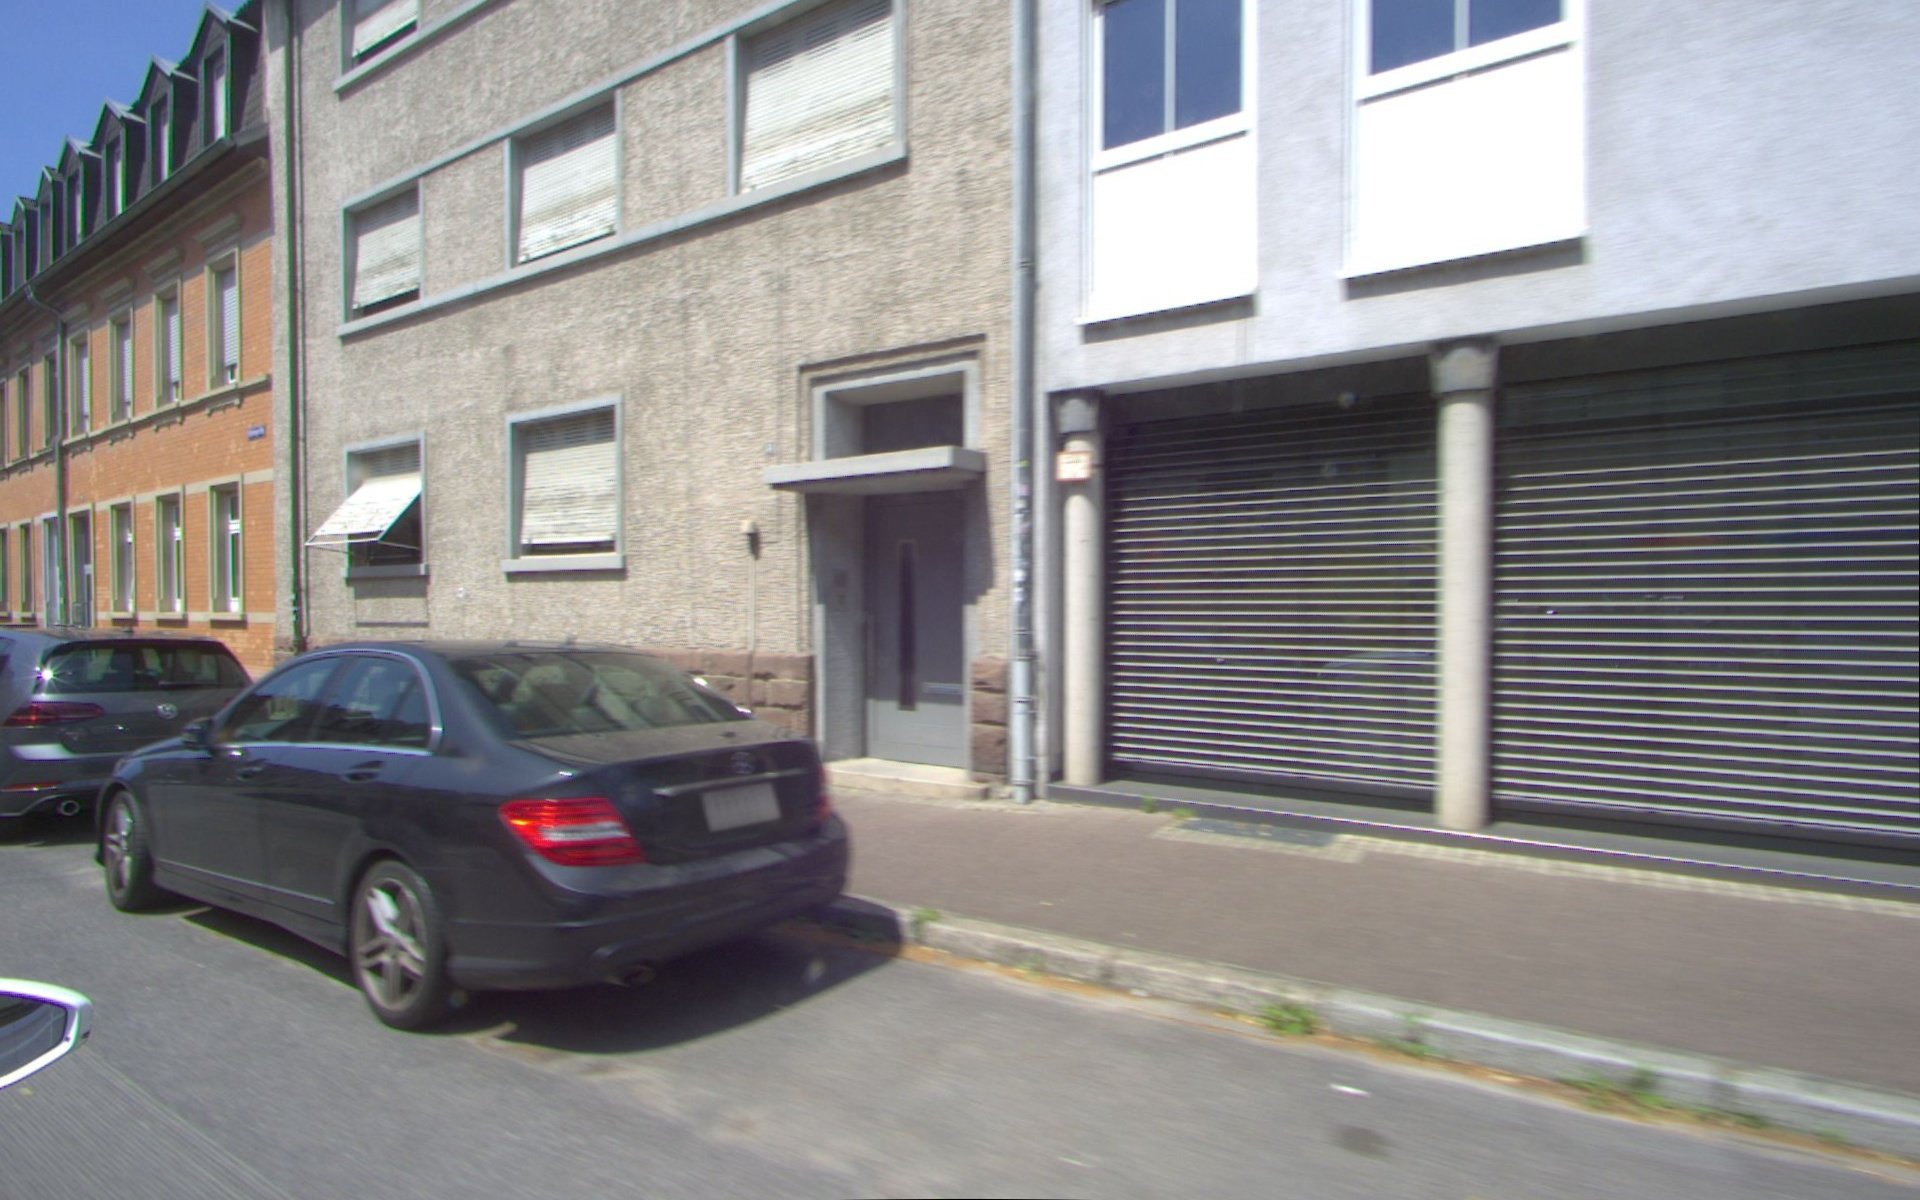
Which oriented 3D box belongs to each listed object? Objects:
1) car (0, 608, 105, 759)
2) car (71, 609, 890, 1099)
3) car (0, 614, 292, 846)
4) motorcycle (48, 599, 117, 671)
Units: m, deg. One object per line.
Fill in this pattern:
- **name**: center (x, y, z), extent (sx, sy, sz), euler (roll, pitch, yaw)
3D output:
- **car**: center (-11.473, 0.840, 10.838), extent (4.479, 1.482, 1.853), euler (-1, -1, 27)
- **car**: center (-2.596, 0.796, 5.000), extent (4.376, 1.492, 1.707), euler (0, 0, 34)
- **car**: center (-7.287, 0.843, 8.031), extent (3.988, 1.439, 1.649), euler (0, 0, 31)
- **motorcycle**: center (-15.563, 0.605, 17.754), extent (1.343, 1.241, 0.594), euler (0, 0, 34)
